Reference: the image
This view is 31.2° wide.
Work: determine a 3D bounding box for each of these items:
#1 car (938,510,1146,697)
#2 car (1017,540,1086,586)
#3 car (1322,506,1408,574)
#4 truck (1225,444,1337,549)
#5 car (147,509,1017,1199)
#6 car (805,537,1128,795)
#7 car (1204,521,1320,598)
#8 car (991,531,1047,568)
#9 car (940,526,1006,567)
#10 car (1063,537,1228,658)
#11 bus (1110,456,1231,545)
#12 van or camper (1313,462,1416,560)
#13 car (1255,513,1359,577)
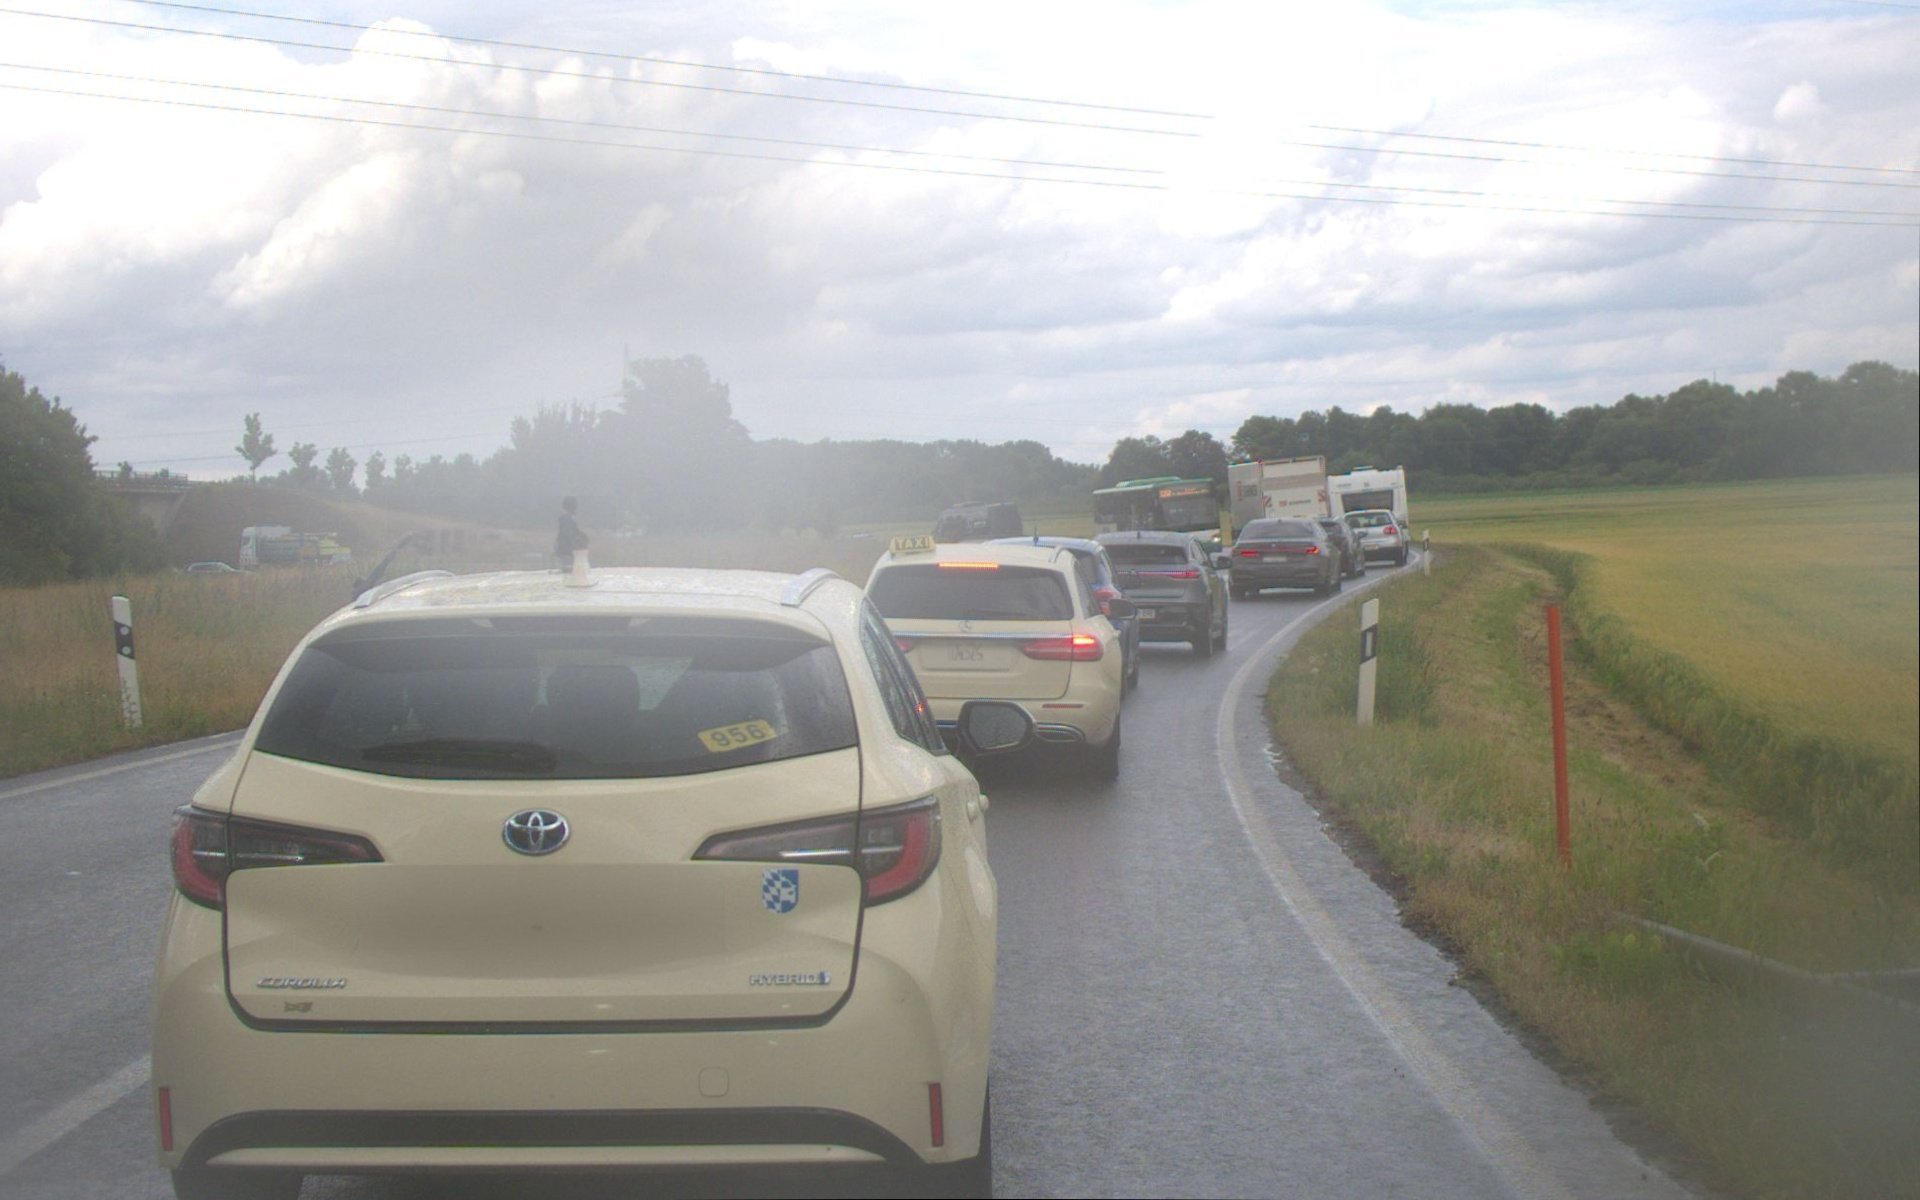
[{"bbox_3d":[0.833,0.022,32.572,1.613,1.653,3.737,0,0,7],"label":"car"},{"bbox_3d":[4.110,-1.656,154.936,1.993,2.007,4.152,0,0,-15],"label":"car"},{"bbox_3d":[10.557,-1.541,89.379,1.961,1.723,3.736,0,0,11],"label":"car"},{"bbox_3d":[12.308,-3.927,132.449,3.126,3.839,7.387,0,0,-4],"label":"truck"},{"bbox_3d":[-0.729,0.608,8.289,1.613,1.557,3.738,0,0,-1],"label":"car"},{"bbox_3d":[0.148,0.346,22.584,1.841,1.487,4.608,0,1,4],"label":"car"},{"bbox_3d":[5.813,-0.756,65.762,1.960,1.408,4.391,0,0,8],"label":"car"},{"bbox_3d":[2.982,-2.546,174.433,1.840,1.852,4.090,0,0,-14],"label":"car"},{"bbox_3d":[0.632,-2.633,170.797,1.993,2.007,4.001,0,0,-20],"label":"car"},{"bbox_3d":[2.308,-0.036,41.983,1.613,1.408,3.737,0,0,9],"label":"car"},{"bbox_3d":[8.106,-3.844,134.295,2.757,3.286,12.505,0,1,-6],"label":"bus"},{"bbox_3d":[12.285,-2.695,104.795,2.537,2.886,6.743,0,1,2],"label":"van or camper"},{"bbox_3d":[7.966,-1.243,78.653,1.826,1.408,3.736,1,0,14],"label":"car"}]
